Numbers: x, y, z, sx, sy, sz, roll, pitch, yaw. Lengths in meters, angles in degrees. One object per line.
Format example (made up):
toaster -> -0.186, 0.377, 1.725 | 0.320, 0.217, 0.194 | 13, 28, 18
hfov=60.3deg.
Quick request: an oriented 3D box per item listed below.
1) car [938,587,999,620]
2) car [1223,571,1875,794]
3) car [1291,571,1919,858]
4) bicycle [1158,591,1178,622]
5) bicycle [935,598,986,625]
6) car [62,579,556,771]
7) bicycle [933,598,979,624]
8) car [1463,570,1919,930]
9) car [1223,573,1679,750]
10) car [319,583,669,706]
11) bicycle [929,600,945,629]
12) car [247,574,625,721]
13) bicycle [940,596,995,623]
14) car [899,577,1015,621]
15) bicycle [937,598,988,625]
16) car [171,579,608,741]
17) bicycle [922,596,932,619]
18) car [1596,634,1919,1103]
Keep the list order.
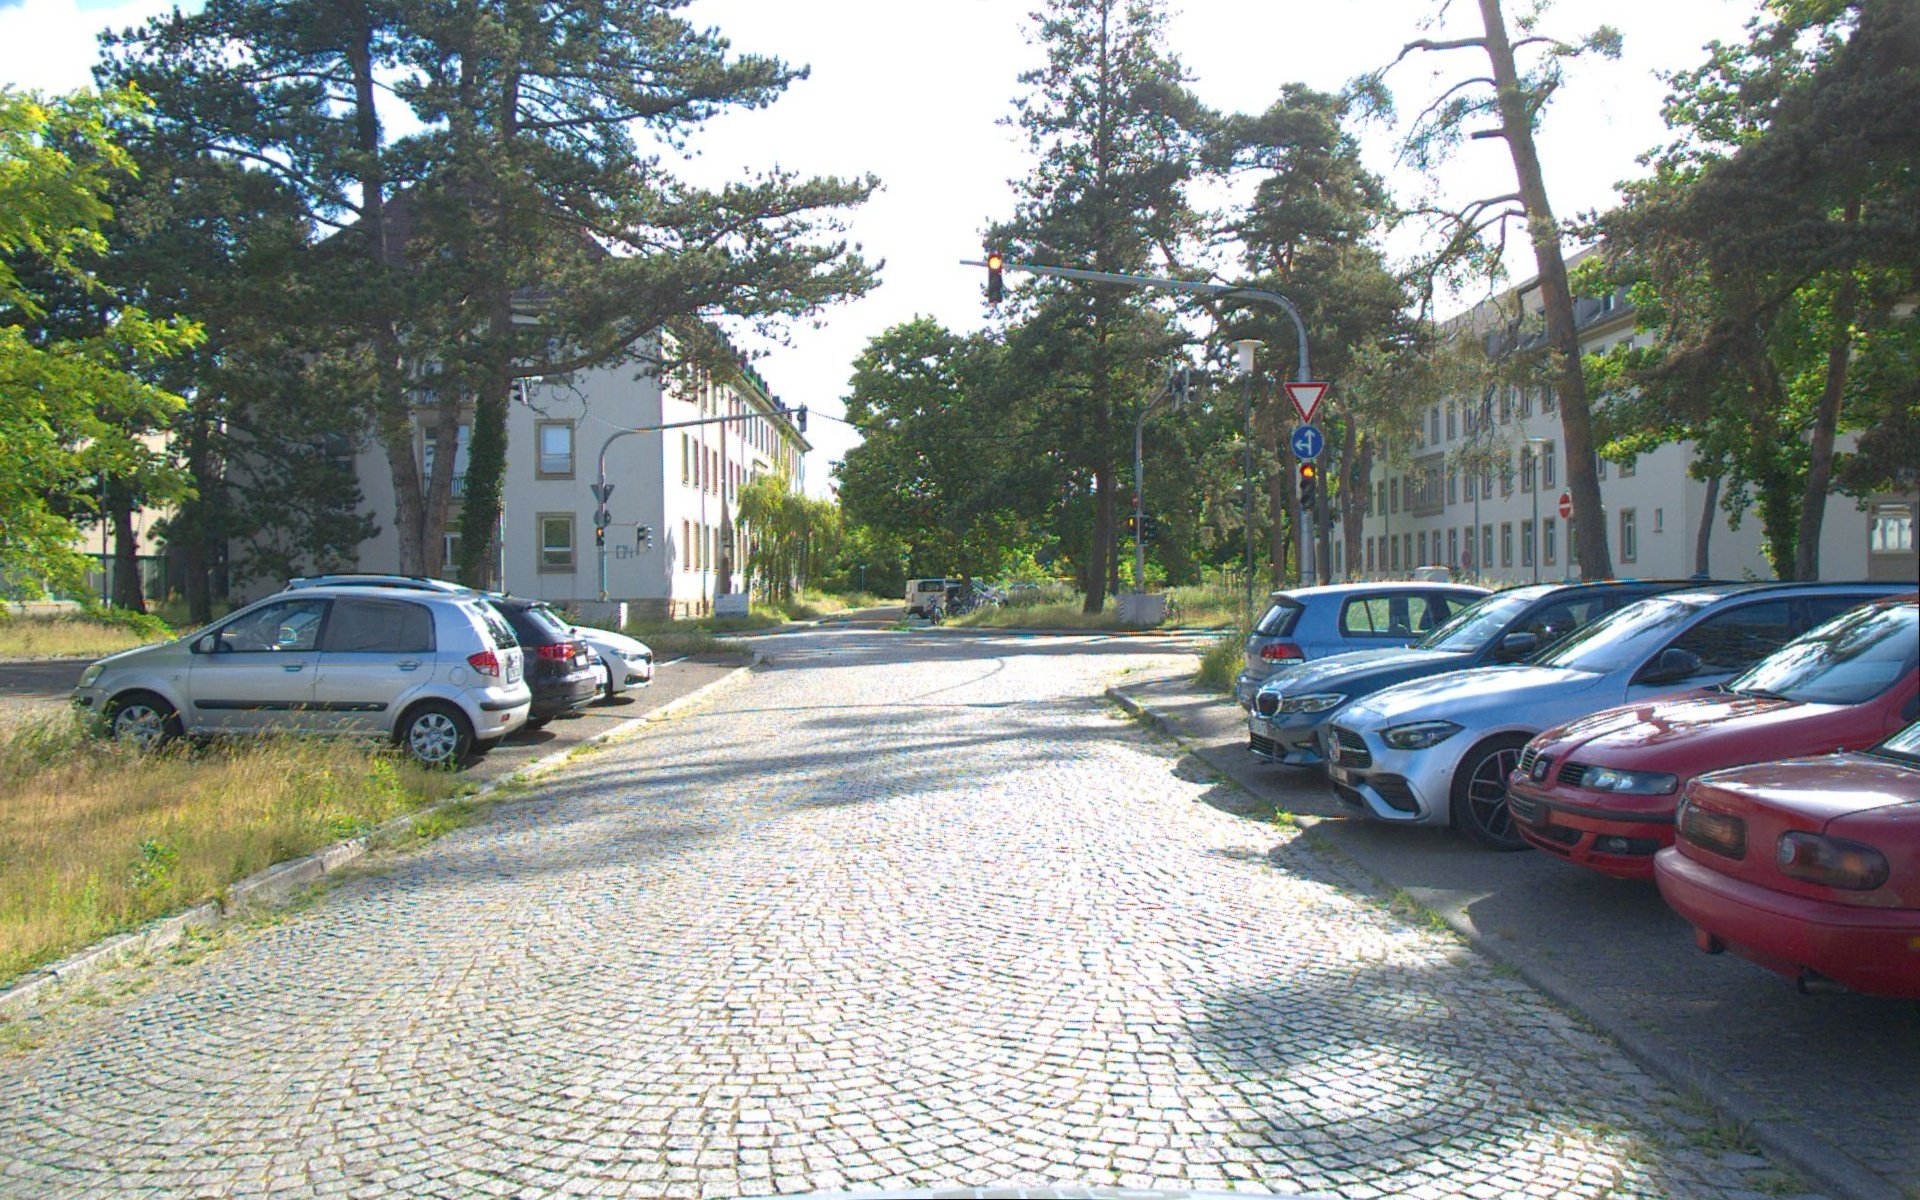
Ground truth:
car -> 0.400, 0.165, 78.933 | 2.728, 1.492, 1.669 | 1, 0, -5
car -> 4.431, 0.587, 12.876 | 4.466, 1.440, 1.636 | -2, 1, 0
car -> 4.400, 0.622, 10.160 | 4.341, 1.440, 1.781 | -2, 1, 0
bicycle -> 6.605, 0.200, 52.466 | 0.294, 0.977, 1.584 | 1, 0, -4
bicycle -> 0.018, 0.464, 67.046 | 1.990, 1.028, 0.626 | 1, 0, -9
car -> -5.578, 0.618, 14.535 | 3.672, 1.513, 1.645 | 1, 1, -4
bicycle -> -0.169, 0.463, 67.917 | 1.803, 1.028, 0.635 | 1, 0, -9
car -> 4.732, 0.607, 8.043 | 4.043, 1.474, 1.636 | -2, 1, 0
car -> 4.539, 0.537, 15.658 | 3.803, 1.440, 1.636 | -2, 1, 0
car -> -6.219, 0.580, 22.465 | 4.248, 1.494, 1.829 | 1, 1, -4
bicycle -> -0.860, 0.524, 60.813 | 0.458, 1.028, 1.584 | 1, 0, -4
car -> -6.250, 0.541, 20.115 | 4.000, 1.621, 1.884 | 1, 1, -4
bicycle -> 0.288, 0.374, 64.509 | 2.070, 1.028, 0.620 | 1, 0, -9
car -> -0.165, -0.054, 82.502 | 5.438, 2.049, 1.989 | 1, 0, -19
bicycle -> 0.105, 0.463, 66.165 | 1.967, 1.028, 0.631 | 1, 0, -9
car -> -5.783, 0.586, 17.162 | 3.908, 1.506, 1.802 | 1, 1, -4
bicycle -> -1.461, 0.334, 74.081 | 0.409, 1.028, 1.483 | 1, 0, 0
car -> 4.348, 0.749, 5.677 | 3.631, 1.244, 1.746 | -2, 1, 0
